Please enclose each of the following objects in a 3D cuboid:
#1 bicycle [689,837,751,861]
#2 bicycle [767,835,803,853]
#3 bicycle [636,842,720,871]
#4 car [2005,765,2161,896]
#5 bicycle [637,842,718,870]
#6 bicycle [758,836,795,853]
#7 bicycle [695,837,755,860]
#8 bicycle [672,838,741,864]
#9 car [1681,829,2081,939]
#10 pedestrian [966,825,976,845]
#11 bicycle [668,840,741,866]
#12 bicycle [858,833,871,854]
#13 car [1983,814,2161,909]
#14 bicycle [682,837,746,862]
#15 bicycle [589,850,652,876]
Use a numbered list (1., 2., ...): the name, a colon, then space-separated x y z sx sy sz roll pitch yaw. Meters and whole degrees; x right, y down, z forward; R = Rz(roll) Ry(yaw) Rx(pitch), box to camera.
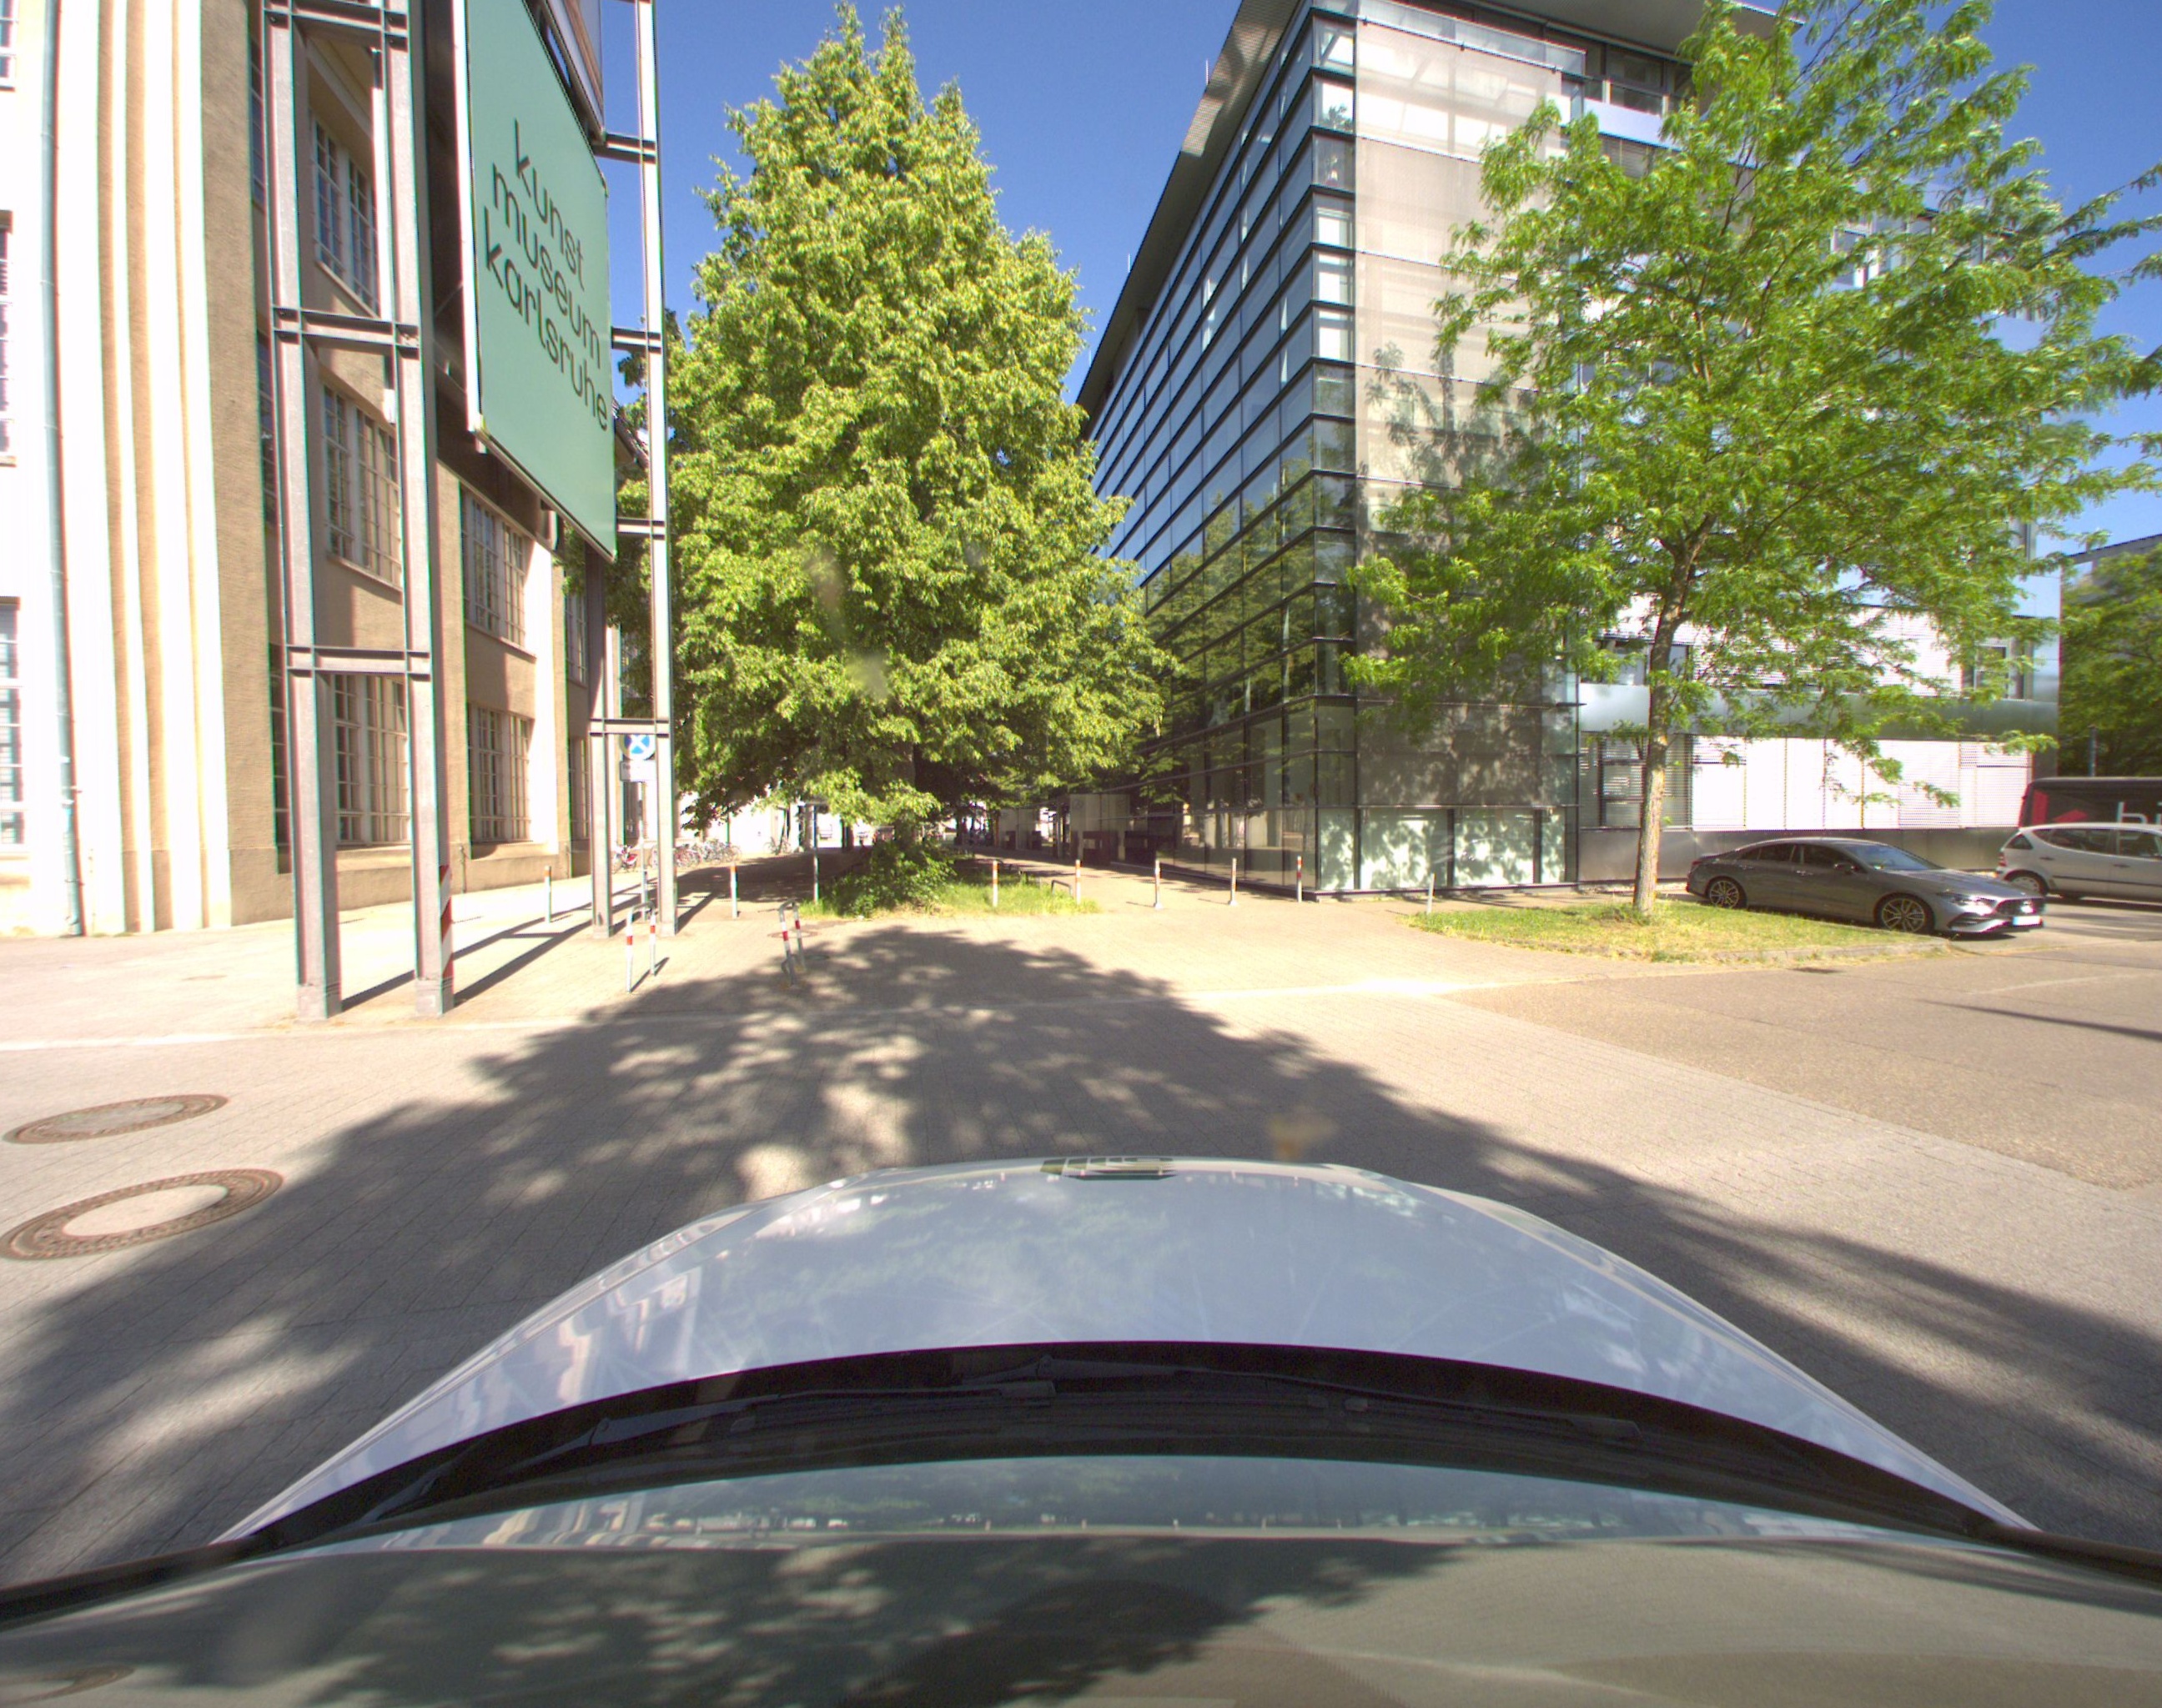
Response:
1. bicycle: -17.857 -0.268 40.327 2.738 1.150 0.714 -1 2 -18
2. bicycle: -18.776 -0.651 51.632 2.058 1.066 0.505 -1 2 -11
3. bicycle: -15.594 0.084 31.588 2.808 1.063 0.714 -1 2 -18
4. car: 22.812 -0.458 16.167 2.227 2.621 5.450 -1 4 -13
5. bicycle: -16.331 0.065 33.033 2.803 1.063 0.716 -1 2 -13
6. bicycle: -19.012 -0.595 50.847 2.058 1.066 0.505 -1 2 -11
7. bicycle: -18.365 -0.301 42.104 2.738 1.150 0.714 -1 2 -18
8. bicycle: -17.449 -0.162 38.017 2.808 1.150 0.714 -1 2 -18
9. car: 13.117 0.350 13.861 1.888 1.350 4.531 -1 4 -13
10. pedestrian: -8.439 -1.444 62.666 0.716 1.550 0.689 -1 2 -7
11. bicycle: -16.569 -0.057 35.894 2.808 1.063 0.714 -1 2 -18
12. bicycle: -12.354 -0.615 46.473 0.621 1.196 2.119 -1 2 -18
13. car: 20.369 0.118 15.479 1.888 1.644 3.829 -1 4 -12
14. bicycle: -17.769 -0.248 39.541 2.738 1.150 0.714 -1 2 -18
15. bicycle: -16.134 0.289 28.616 0.777 0.792 2.880 0 2 -5
